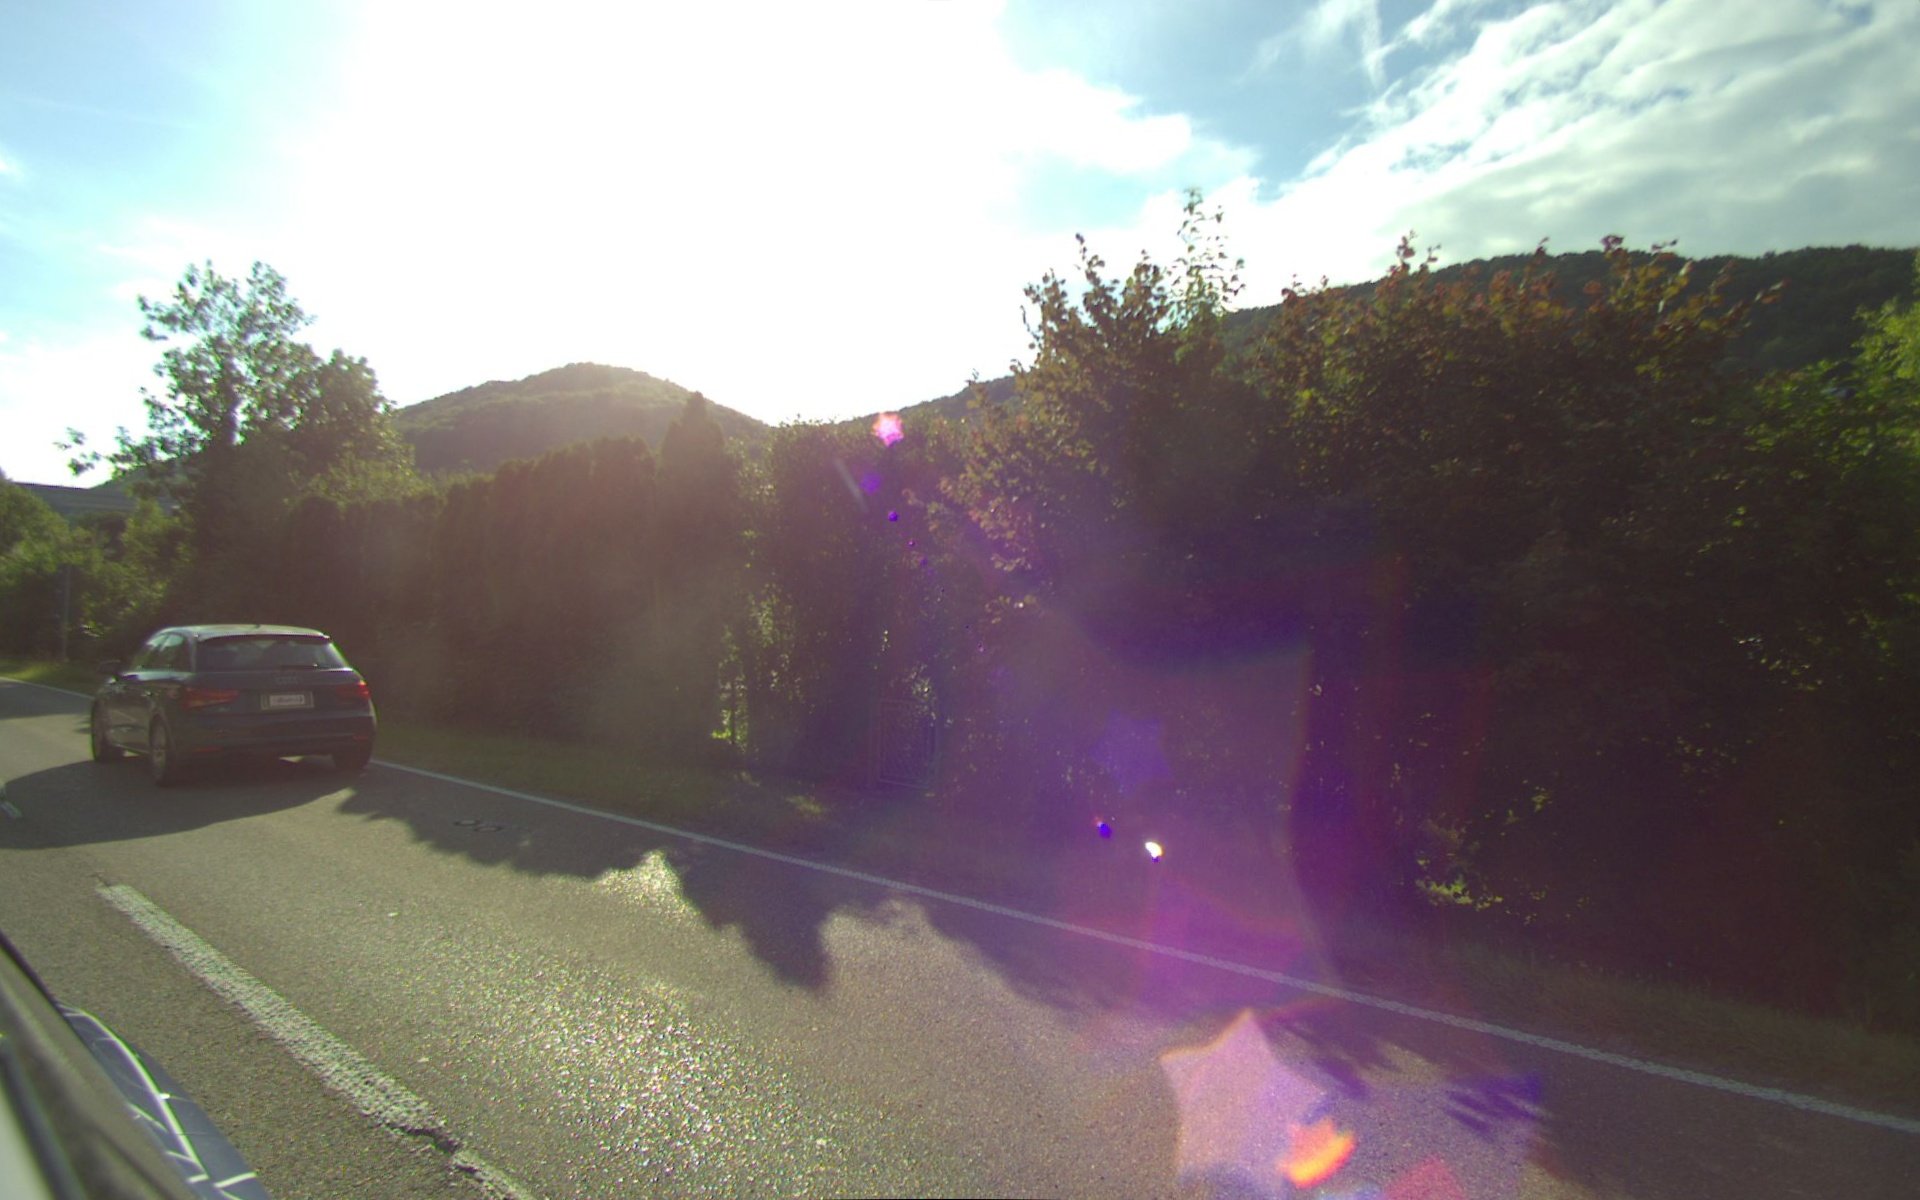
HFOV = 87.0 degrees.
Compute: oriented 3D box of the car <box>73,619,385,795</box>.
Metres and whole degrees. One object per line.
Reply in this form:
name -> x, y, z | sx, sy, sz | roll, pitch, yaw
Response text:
car -> -7.360, 0.939, 10.072 | 3.786, 1.426, 1.611 | -2, -3, 40
